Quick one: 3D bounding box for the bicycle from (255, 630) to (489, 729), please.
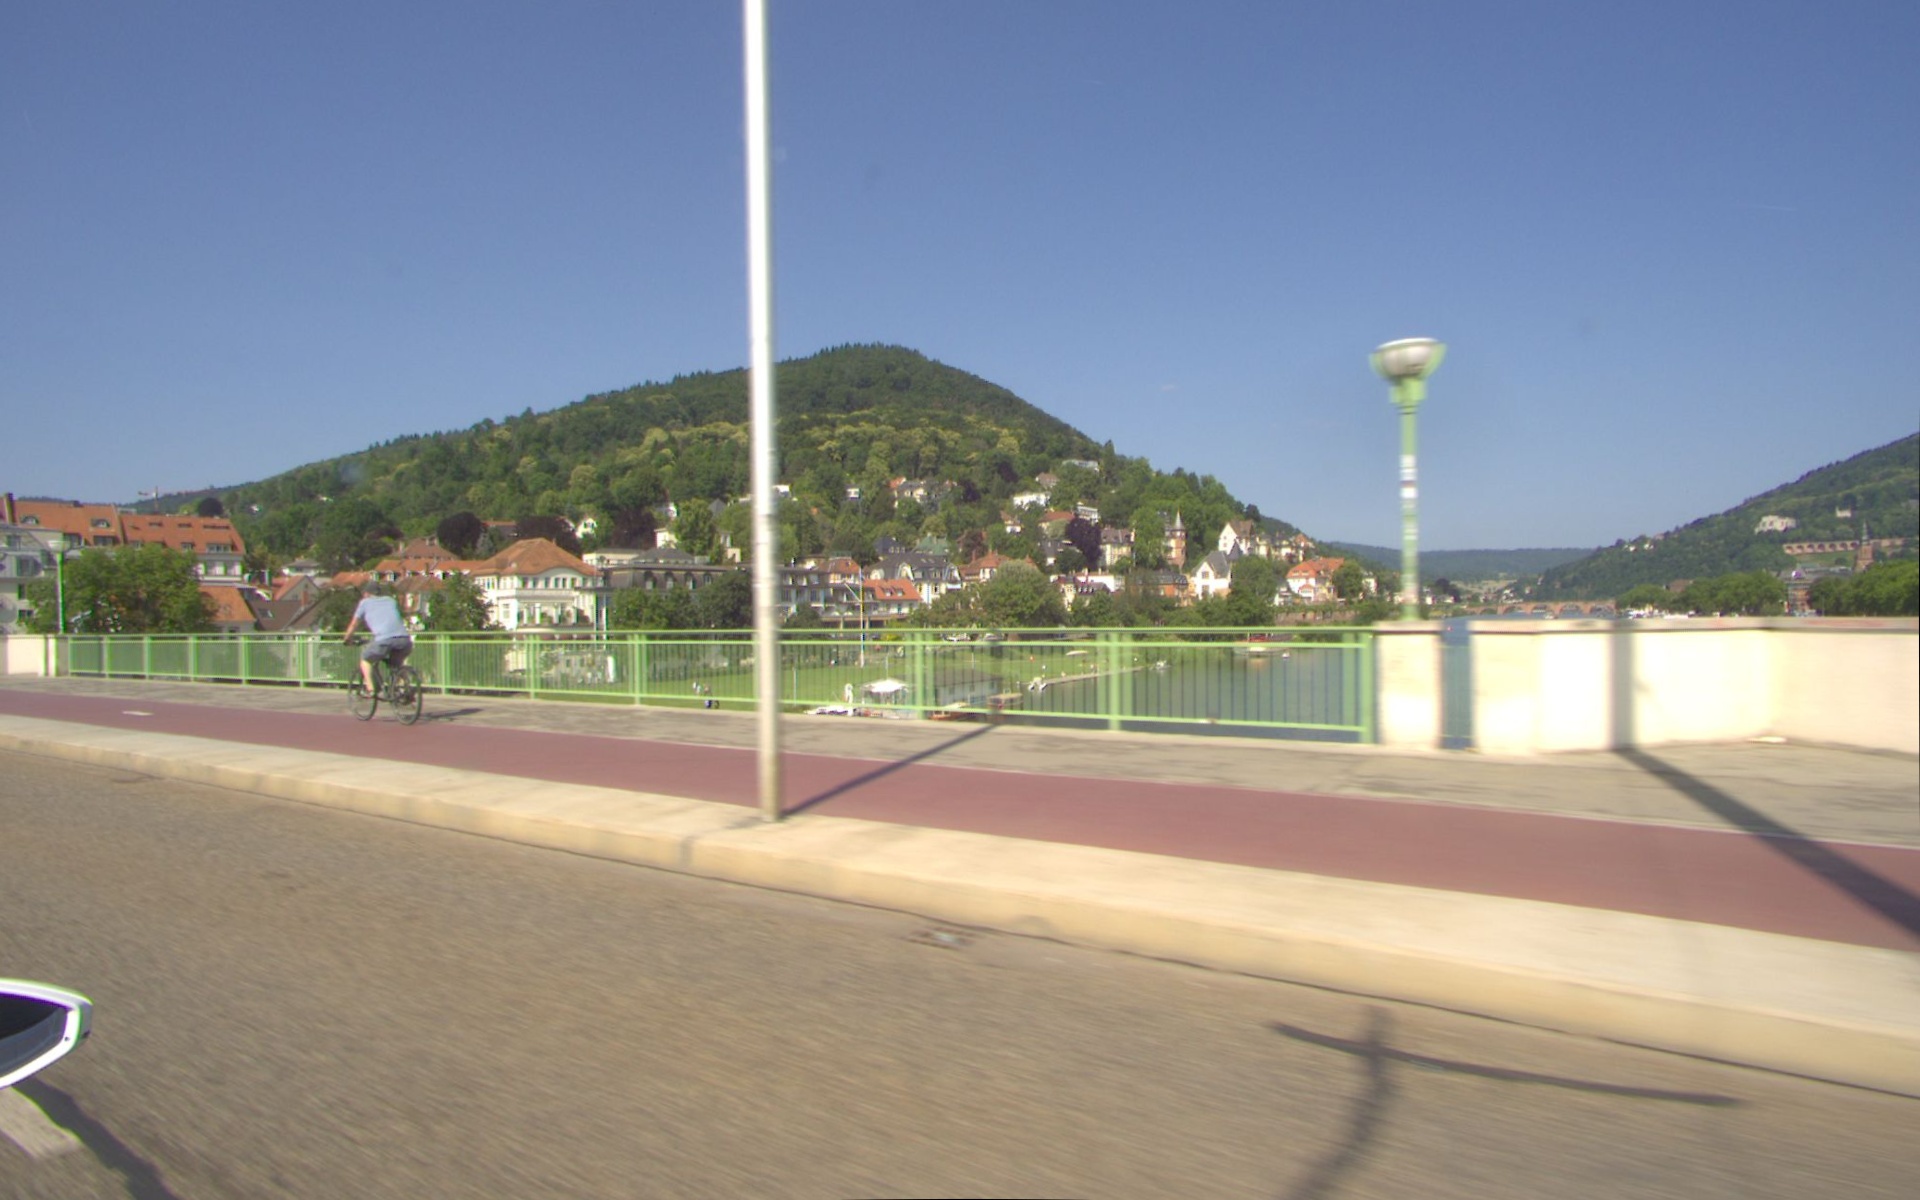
[{"bbox_3d":[-7.617,0.957,12.864,3.686,1.110,0.791,-1,1,28],"label":"bicycle"}]

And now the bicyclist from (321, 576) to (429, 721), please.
[{"bbox_3d":[-7.455,0.591,12.760,1.132,1.767,0.672,0,1,28],"label":"bicyclist"}]
